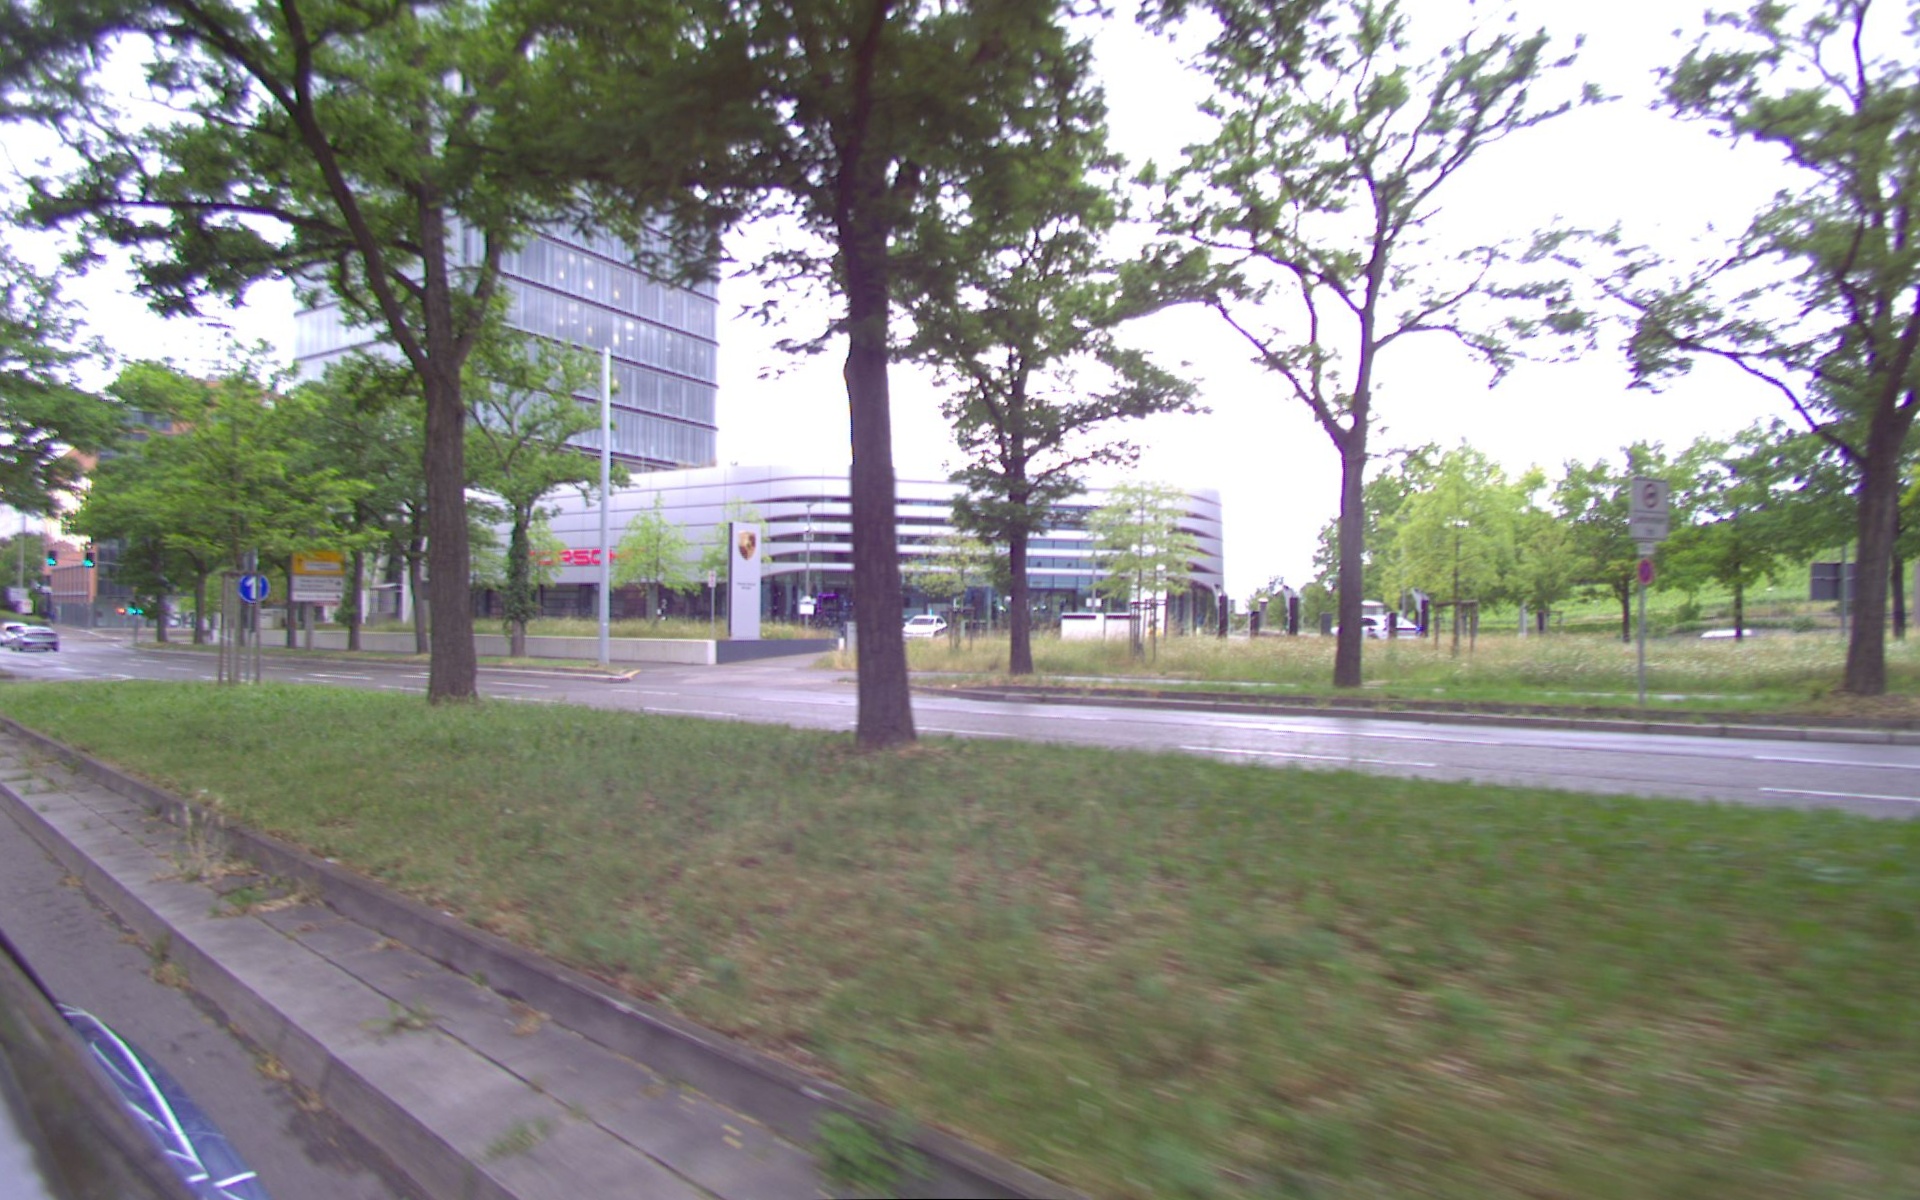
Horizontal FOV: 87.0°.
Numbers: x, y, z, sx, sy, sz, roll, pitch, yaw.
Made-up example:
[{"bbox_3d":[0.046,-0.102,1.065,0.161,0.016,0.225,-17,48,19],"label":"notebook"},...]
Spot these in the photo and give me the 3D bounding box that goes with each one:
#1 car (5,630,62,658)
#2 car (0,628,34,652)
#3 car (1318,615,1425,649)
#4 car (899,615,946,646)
[{"bbox_3d":[-54.427,2.574,59.426,3.996,1.464,1.871,0,1,39],"label":"car"},{"bbox_3d":[-65.053,2.700,69.376,3.996,1.464,1.761,0,1,39],"label":"car"},{"bbox_3d":[17.180,1.306,42.442,1.592,1.254,4.013,-2,1,-29],"label":"car"},{"bbox_3d":[-1.916,1.554,52.332,1.758,1.423,3.991,-1,1,8],"label":"car"}]
